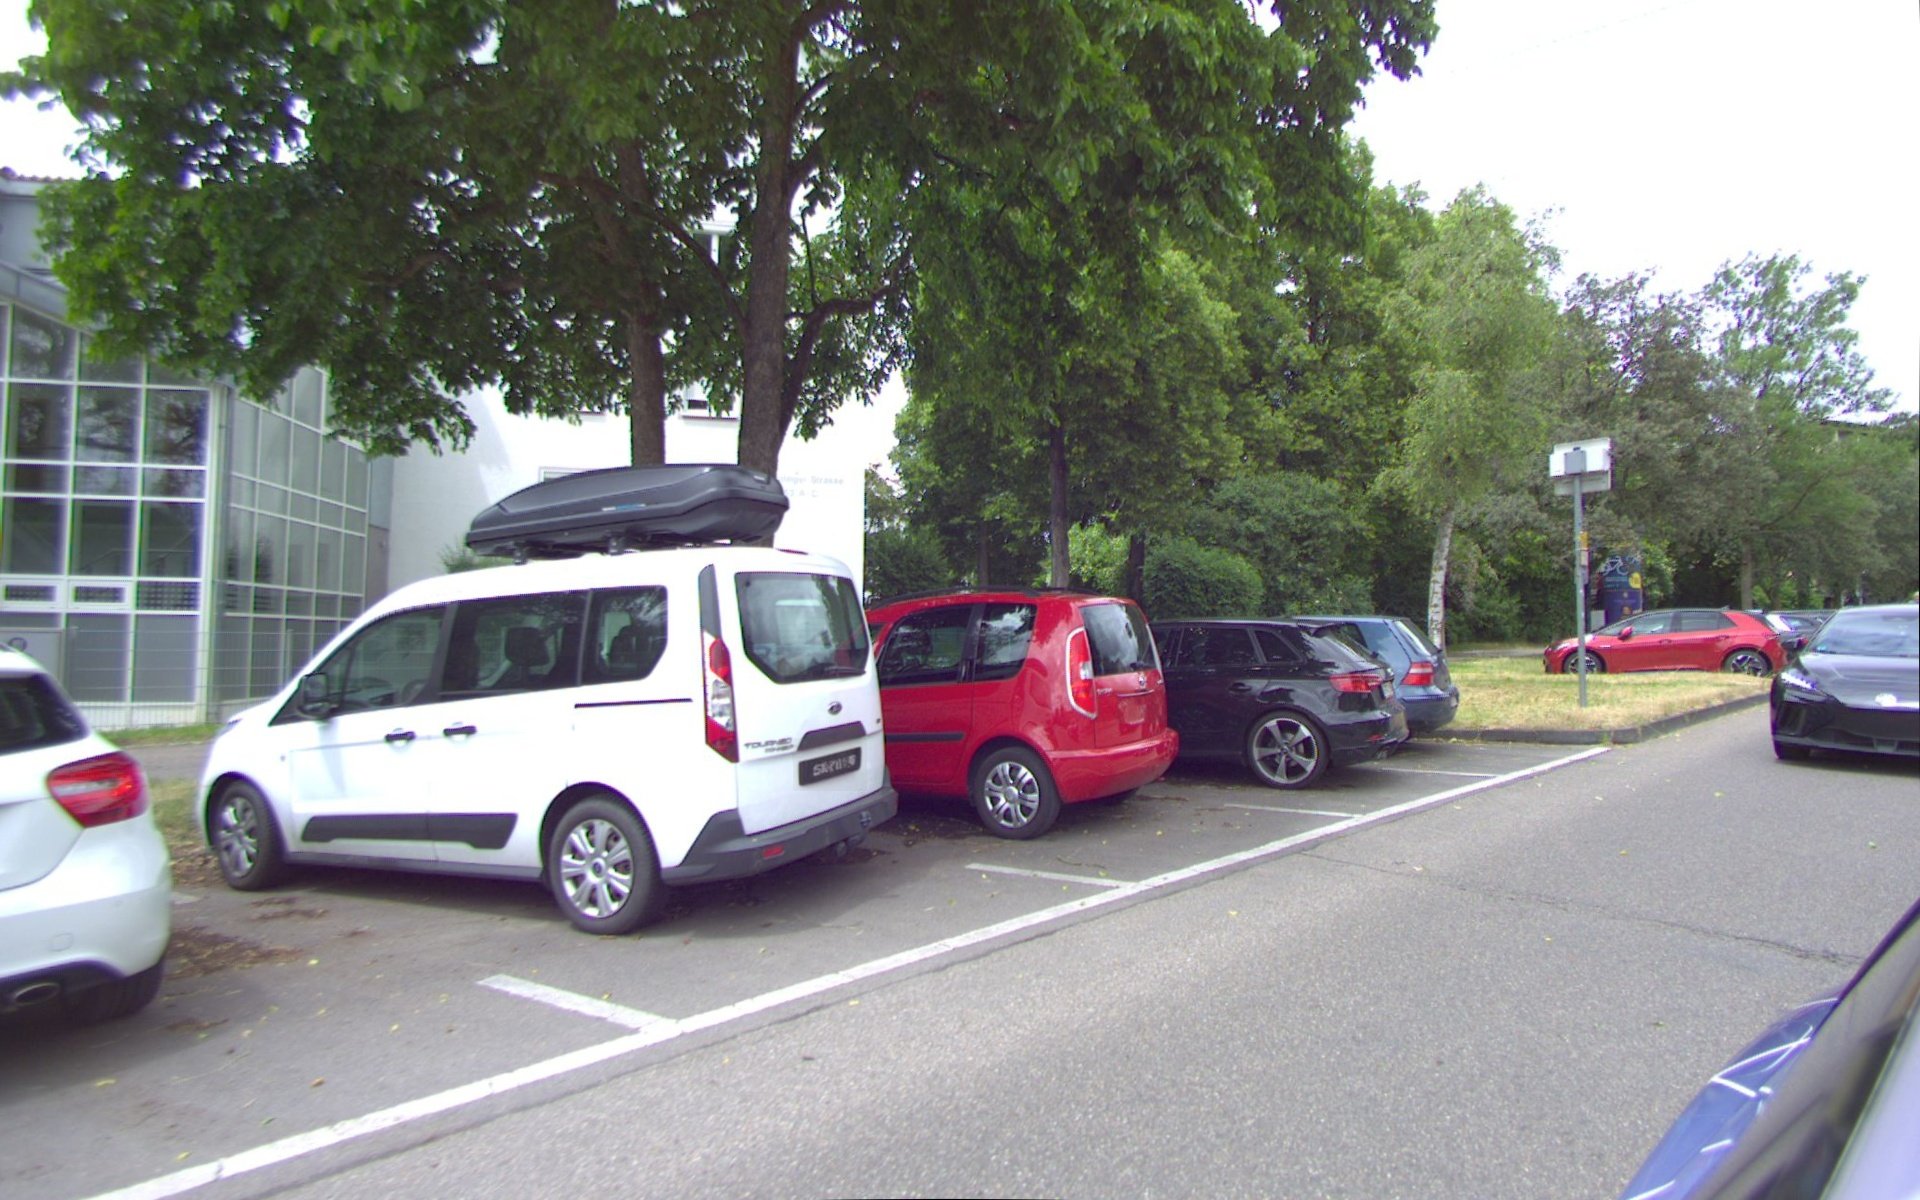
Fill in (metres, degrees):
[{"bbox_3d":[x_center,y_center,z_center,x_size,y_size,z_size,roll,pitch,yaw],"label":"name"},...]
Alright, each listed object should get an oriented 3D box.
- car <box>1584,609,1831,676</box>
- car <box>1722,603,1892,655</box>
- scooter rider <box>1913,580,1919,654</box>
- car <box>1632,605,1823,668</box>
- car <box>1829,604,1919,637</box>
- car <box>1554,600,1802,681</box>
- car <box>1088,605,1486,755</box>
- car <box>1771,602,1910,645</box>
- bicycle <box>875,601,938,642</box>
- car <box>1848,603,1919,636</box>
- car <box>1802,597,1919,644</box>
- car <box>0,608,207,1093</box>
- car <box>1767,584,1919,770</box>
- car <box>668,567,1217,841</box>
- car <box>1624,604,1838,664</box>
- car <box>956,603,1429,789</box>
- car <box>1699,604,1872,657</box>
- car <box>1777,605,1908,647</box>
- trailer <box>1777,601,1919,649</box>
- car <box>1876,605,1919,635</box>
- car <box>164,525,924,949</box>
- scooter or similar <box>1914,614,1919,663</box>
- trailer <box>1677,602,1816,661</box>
[{"bbox_3d":[16.643,0.939,22.779,4.299,1.358,1.711,-2,-2,36],"label":"car"},{"bbox_3d":[26.100,0.905,31.382,3.901,1.506,1.596,-2,-2,38],"label":"car"},{"bbox_3d":[23.179,0.402,24.064,0.681,1.752,1.177,-2,-3,44],"label":"scooter rider"},{"bbox_3d":[18.762,0.898,24.950,3.597,1.464,1.614,-2,-2,34],"label":"car"},{"bbox_3d":[42.613,0.945,46.365,4.214,1.483,1.610,-2,-2,41],"label":"car"},{"bbox_3d":[14.797,0.813,21.162,4.053,1.535,1.714,-1,-1,32],"label":"car"},{"bbox_3d":[3.621,0.838,11.483,3.951,1.424,1.734,-3,-2,35],"label":"car"},{"bbox_3d":[33.396,0.909,38.441,1.580,1.549,3.822,0,-2,-44],"label":"car"},{"bbox_3d":[-1.456,0.604,27.769,0.538,1.092,1.898,-4,-5,42],"label":"bicycle"},{"bbox_3d":[44.601,0.932,48.029,3.515,1.495,1.570,-2,-2,38],"label":"car"},{"bbox_3d":[35.677,0.804,39.674,3.977,1.747,1.657,-2,-2,39],"label":"car"},{"bbox_3d":[-4.772,0.821,3.868,3.952,1.467,1.894,-2,-2,35],"label":"car"},{"bbox_3d":[9.611,0.664,10.013,4.223,1.570,1.802,1,-1,-41],"label":"car"},{"bbox_3d":[-0.237,0.699,7.969,3.981,1.641,1.861,-2,-2,34],"label":"car"},{"bbox_3d":[20.285,0.914,26.882,4.324,1.464,1.615,-2,-2,32],"label":"car"},{"bbox_3d":[2.116,0.812,9.576,4.009,1.424,1.736,-2,-2,32],"label":"car"},{"bbox_3d":[24.295,0.911,29.930,3.833,1.474,1.611,-2,-2,39],"label":"car"},{"bbox_3d":[31.817,0.951,36.617,3.416,1.464,1.538,-2,-2,38],"label":"car"},{"bbox_3d":[30.333,0.879,34.577,3.680,1.555,1.623,-3,-3,39],"label":"trailer"},{"bbox_3d":[48.854,0.968,50.751,4.126,1.495,1.554,-2,-2,38],"label":"car"},{"bbox_3d":[-2.422,0.650,5.895,4.052,1.777,1.772,-2,-2,23],"label":"car"},{"bbox_3d":[23.178,0.912,24.055,0.681,1.154,1.436,-2,-2,44],"label":"scooter or similar"},{"bbox_3d":[22.142,0.897,28.602,2.978,1.562,1.285,-2,-3,37],"label":"trailer"}]
